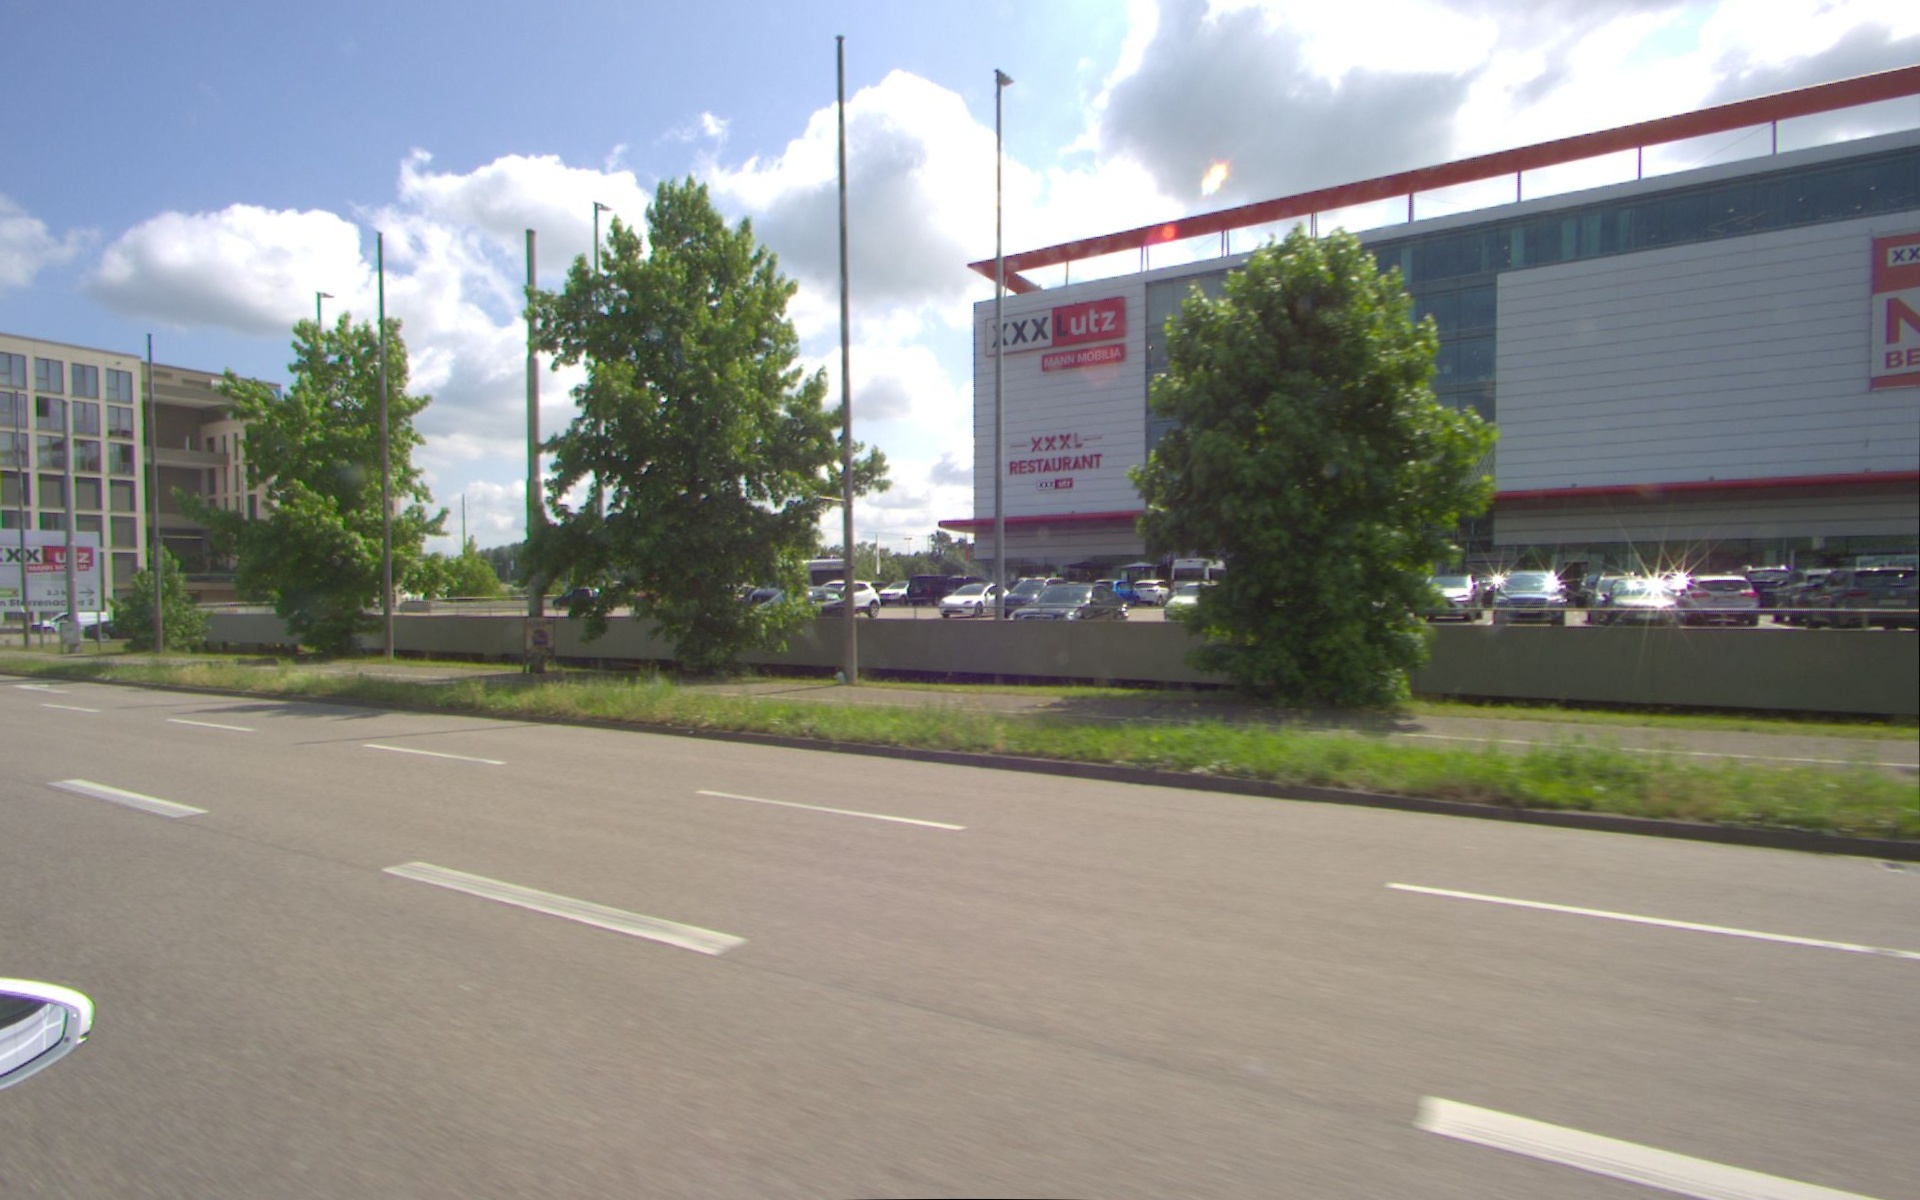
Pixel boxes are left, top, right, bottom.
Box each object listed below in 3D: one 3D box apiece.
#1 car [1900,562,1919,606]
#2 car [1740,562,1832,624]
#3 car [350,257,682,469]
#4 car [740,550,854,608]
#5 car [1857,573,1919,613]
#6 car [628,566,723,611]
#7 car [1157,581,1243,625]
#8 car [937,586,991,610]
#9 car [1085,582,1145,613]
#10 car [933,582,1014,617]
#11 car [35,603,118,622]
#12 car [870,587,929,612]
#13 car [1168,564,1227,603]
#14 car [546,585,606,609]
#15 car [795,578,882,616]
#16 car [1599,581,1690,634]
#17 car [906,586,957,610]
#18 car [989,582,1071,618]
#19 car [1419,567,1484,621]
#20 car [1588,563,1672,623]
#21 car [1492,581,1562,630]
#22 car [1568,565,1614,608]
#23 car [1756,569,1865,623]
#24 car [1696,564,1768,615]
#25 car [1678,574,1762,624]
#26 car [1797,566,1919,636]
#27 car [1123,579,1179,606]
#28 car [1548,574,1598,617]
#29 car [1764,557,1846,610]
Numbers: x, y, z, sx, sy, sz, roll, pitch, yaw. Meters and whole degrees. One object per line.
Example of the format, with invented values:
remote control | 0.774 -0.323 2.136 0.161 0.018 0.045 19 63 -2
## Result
car | 45.658 -0.743 46.531 1.970 2.040 3.982 0 -1 30
car | 29.233 -0.202 35.573 1.971 2.040 3.980 0 -1 32
car | -5.400 -2.771 12.592 1.597 1.674 3.578 0 -1 30
car | -7.329 -0.854 45.753 2.031 2.396 5.651 -1 -1 30
car | 36.851 -0.243 39.258 1.878 1.483 3.979 0 -1 33
car | -15.664 -0.575 55.366 1.958 2.223 5.154 -1 -2 31
car | 8.334 0.066 34.525 1.864 1.408 4.178 0 1 29
car | 0.269 -0.117 62.829 1.611 1.461 3.889 0 -1 32
car | 8.037 -0.112 51.775 1.718 1.536 3.788 0 -1 32
car | 0.657 -0.051 44.528 1.701 1.453 4.175 0 1 31
car | -74.651 1.066 84.692 1.971 1.628 4.975 0 -1 31
car | -3.942 -0.007 65.858 1.972 1.563 3.979 0 -1 33
car | 12.815 -0.862 53.863 1.971 1.977 3.980 0 -1 32
car | -26.595 -0.195 69.412 3.810 1.541 1.867 -2 -1 29
car | -5.260 -0.096 43.664 1.721 1.534 3.982 -1 -1 30
car | 18.887 0.147 27.793 1.738 1.343 4.351 0 1 30
car | -1.793 -0.095 63.929 1.562 1.484 3.519 0 -1 32
car | 3.092 -0.035 43.635 1.865 1.453 4.175 0 1 31
car | 17.242 -0.181 35.036 1.766 1.750 3.982 0 0 30
car | 21.311 -0.178 31.968 1.970 1.773 3.981 0 -1 30
car | 16.684 0.126 29.382 1.663 1.343 4.174 0 1 31
car | 28.506 -0.573 45.296 1.651 1.806 3.980 0 -1 32
car | 25.186 -0.067 29.809 1.734 1.483 4.234 0 -1 30
car | 32.491 -0.398 42.241 1.971 2.040 3.980 0 -1 31
car | 23.120 0.018 30.565 1.591 1.405 3.761 -1 -1 30
car | 22.564 -0.011 24.864 2.000 1.595 4.351 0 1 30
car | 10.682 -0.396 55.803 1.883 1.452 3.788 0 -1 32
car | 24.155 -0.127 39.558 1.551 1.617 3.667 0 -1 30
car | 34.484 -0.619 40.983 1.971 2.040 3.980 0 -1 31
